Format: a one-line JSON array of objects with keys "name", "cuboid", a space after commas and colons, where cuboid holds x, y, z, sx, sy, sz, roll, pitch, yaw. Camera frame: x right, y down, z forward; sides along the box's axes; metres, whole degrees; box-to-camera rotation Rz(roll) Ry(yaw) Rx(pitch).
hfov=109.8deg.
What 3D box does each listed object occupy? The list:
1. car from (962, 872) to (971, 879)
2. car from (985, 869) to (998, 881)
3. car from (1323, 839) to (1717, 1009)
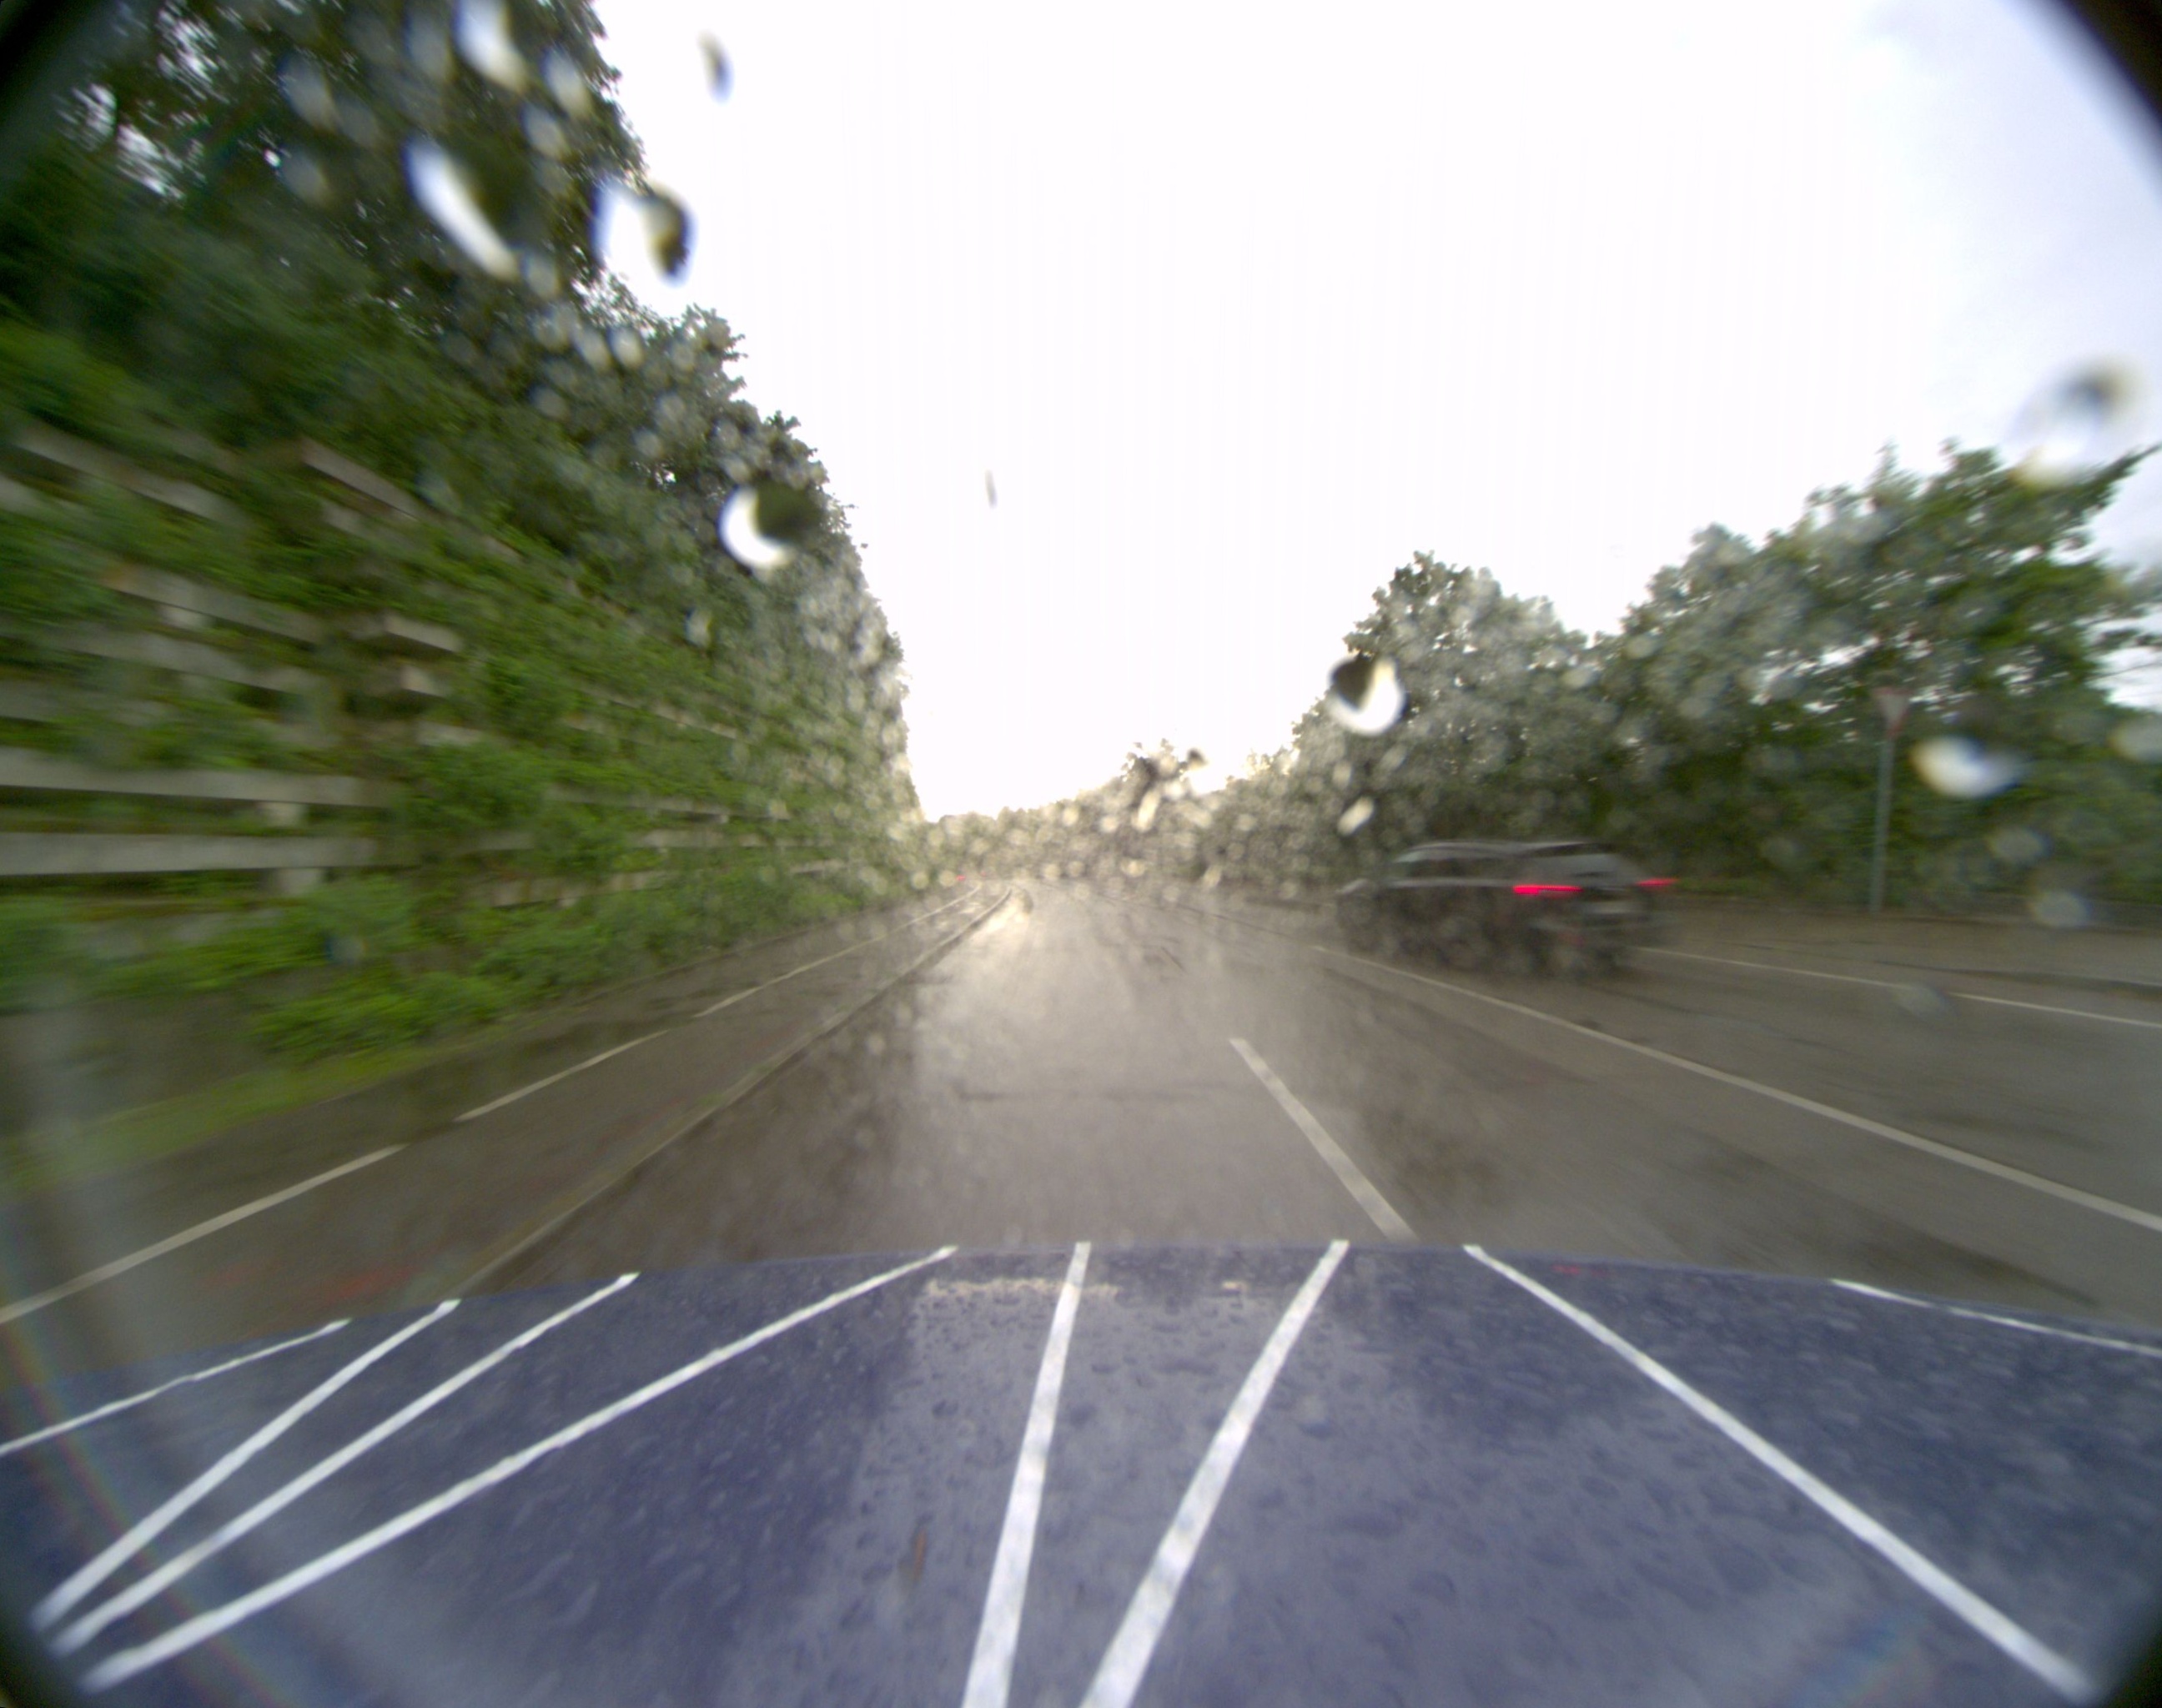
[{"name": "car", "cuboid": [-25.605, 4.866, 169.724, 1.800, 1.401, 3.995, -3, 1, -13]}, {"name": "car", "cuboid": [-13.551, 3.195, 115.192, 1.804, 1.626, 3.997, -1, 0, -10]}, {"name": "car", "cuboid": [4.812, 0.618, 9.278, 1.729, 1.454, 4.540, -4, 1, -7]}]
